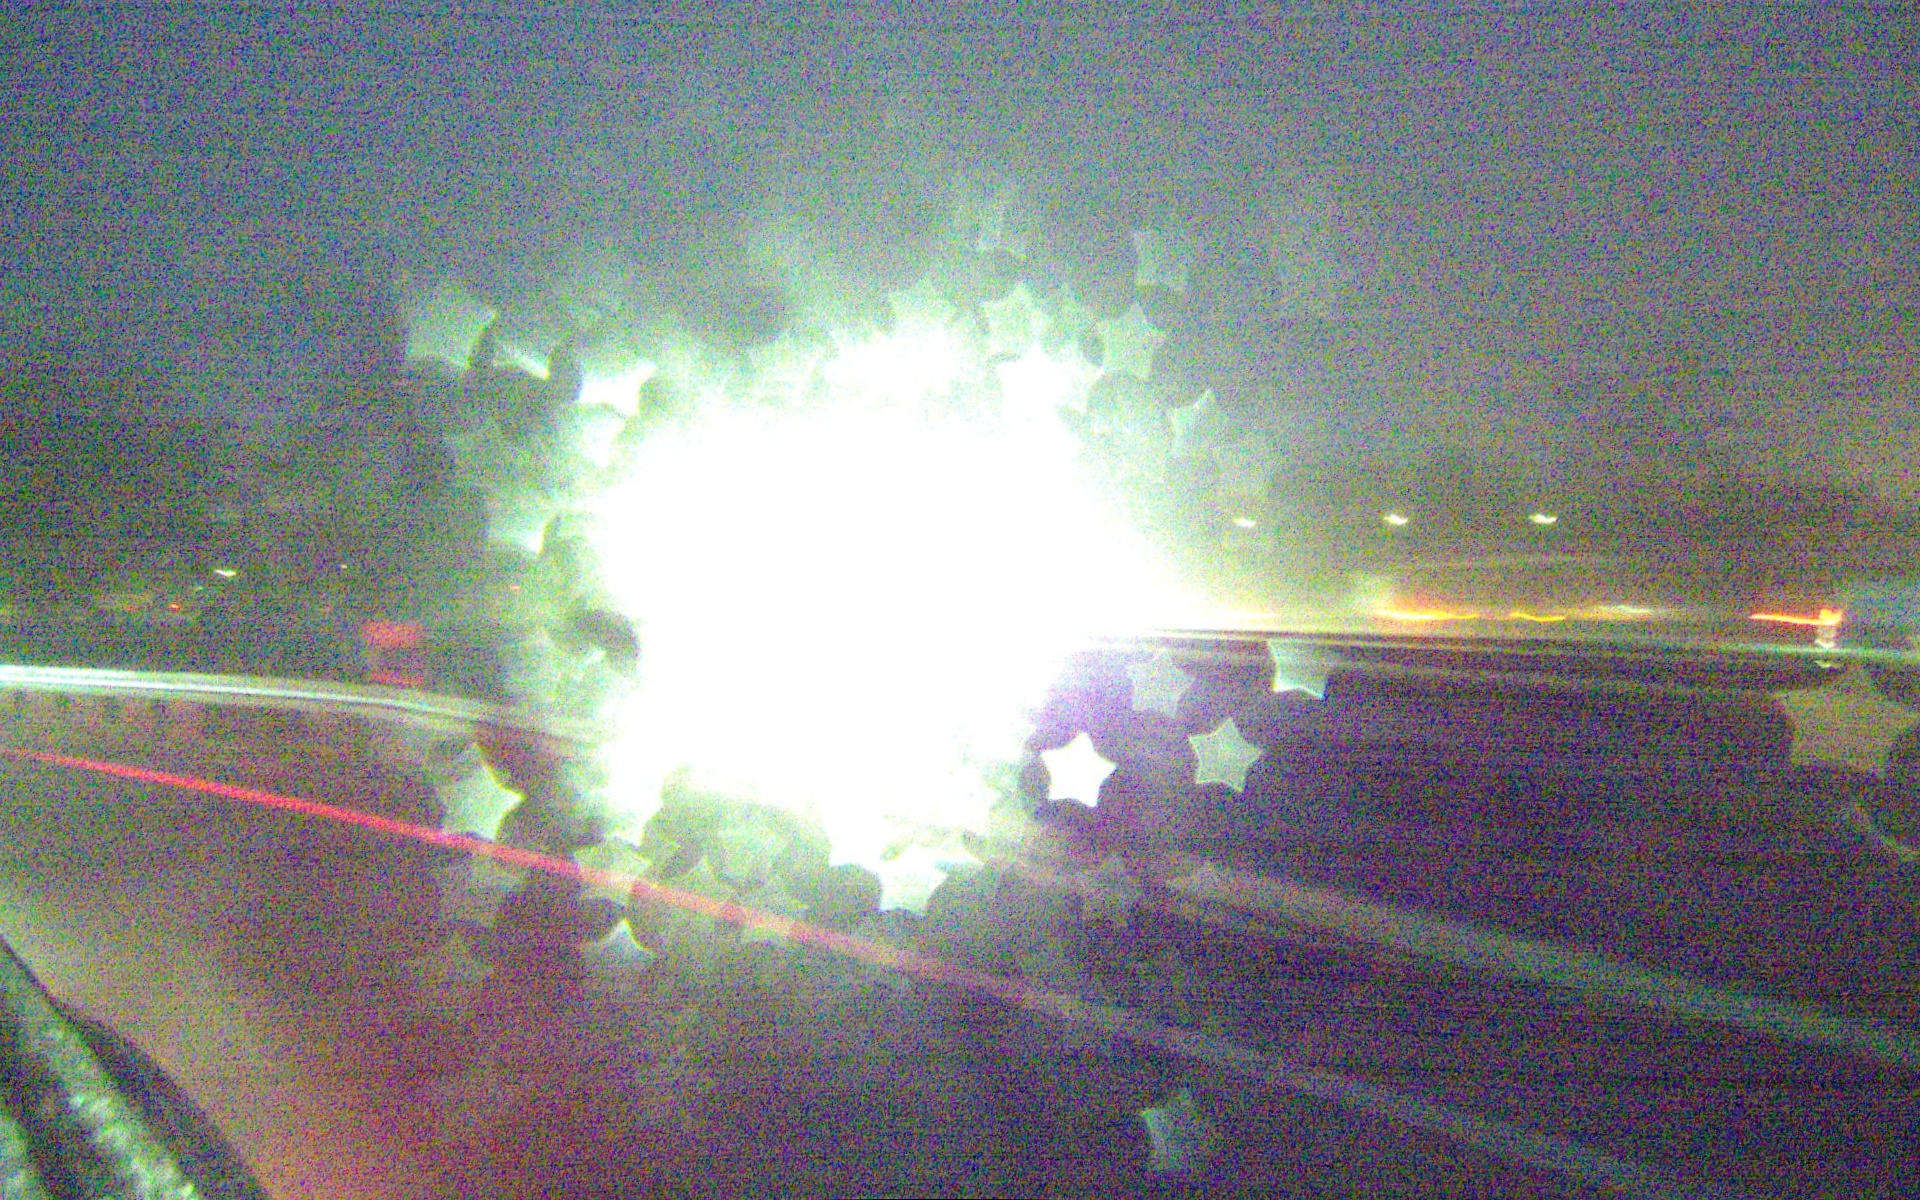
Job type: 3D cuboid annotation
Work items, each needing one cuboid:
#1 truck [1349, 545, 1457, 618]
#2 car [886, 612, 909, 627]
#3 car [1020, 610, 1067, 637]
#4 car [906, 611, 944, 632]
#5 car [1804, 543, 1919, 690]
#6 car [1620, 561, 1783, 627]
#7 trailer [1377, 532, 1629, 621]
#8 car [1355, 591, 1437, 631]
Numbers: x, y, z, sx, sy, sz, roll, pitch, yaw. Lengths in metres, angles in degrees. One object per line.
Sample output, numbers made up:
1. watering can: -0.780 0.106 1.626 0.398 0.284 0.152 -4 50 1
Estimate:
1. truck: 26.435 -1.080 60.700 2.732 4.059 5.765 -2 0 -16
2. car: -7.130 2.188 114.918 1.890 1.608 4.011 0 0 -14
3. car: 5.201 1.447 63.353 1.699 1.608 4.011 0 0 -15
4. car: -2.829 1.677 80.899 1.889 1.608 4.013 0 0 -19
5. car: 14.533 0.240 13.295 1.966 2.029 5.032 1 0 -17
6. car: 24.951 -0.192 34.241 1.966 2.029 4.011 -2 0 -15
7. trailer: 28.253 -1.103 54.143 2.732 4.059 14.055 -2 0 -16
8. car: 23.829 0.597 55.459 1.966 2.029 4.012 -2 0 -16
